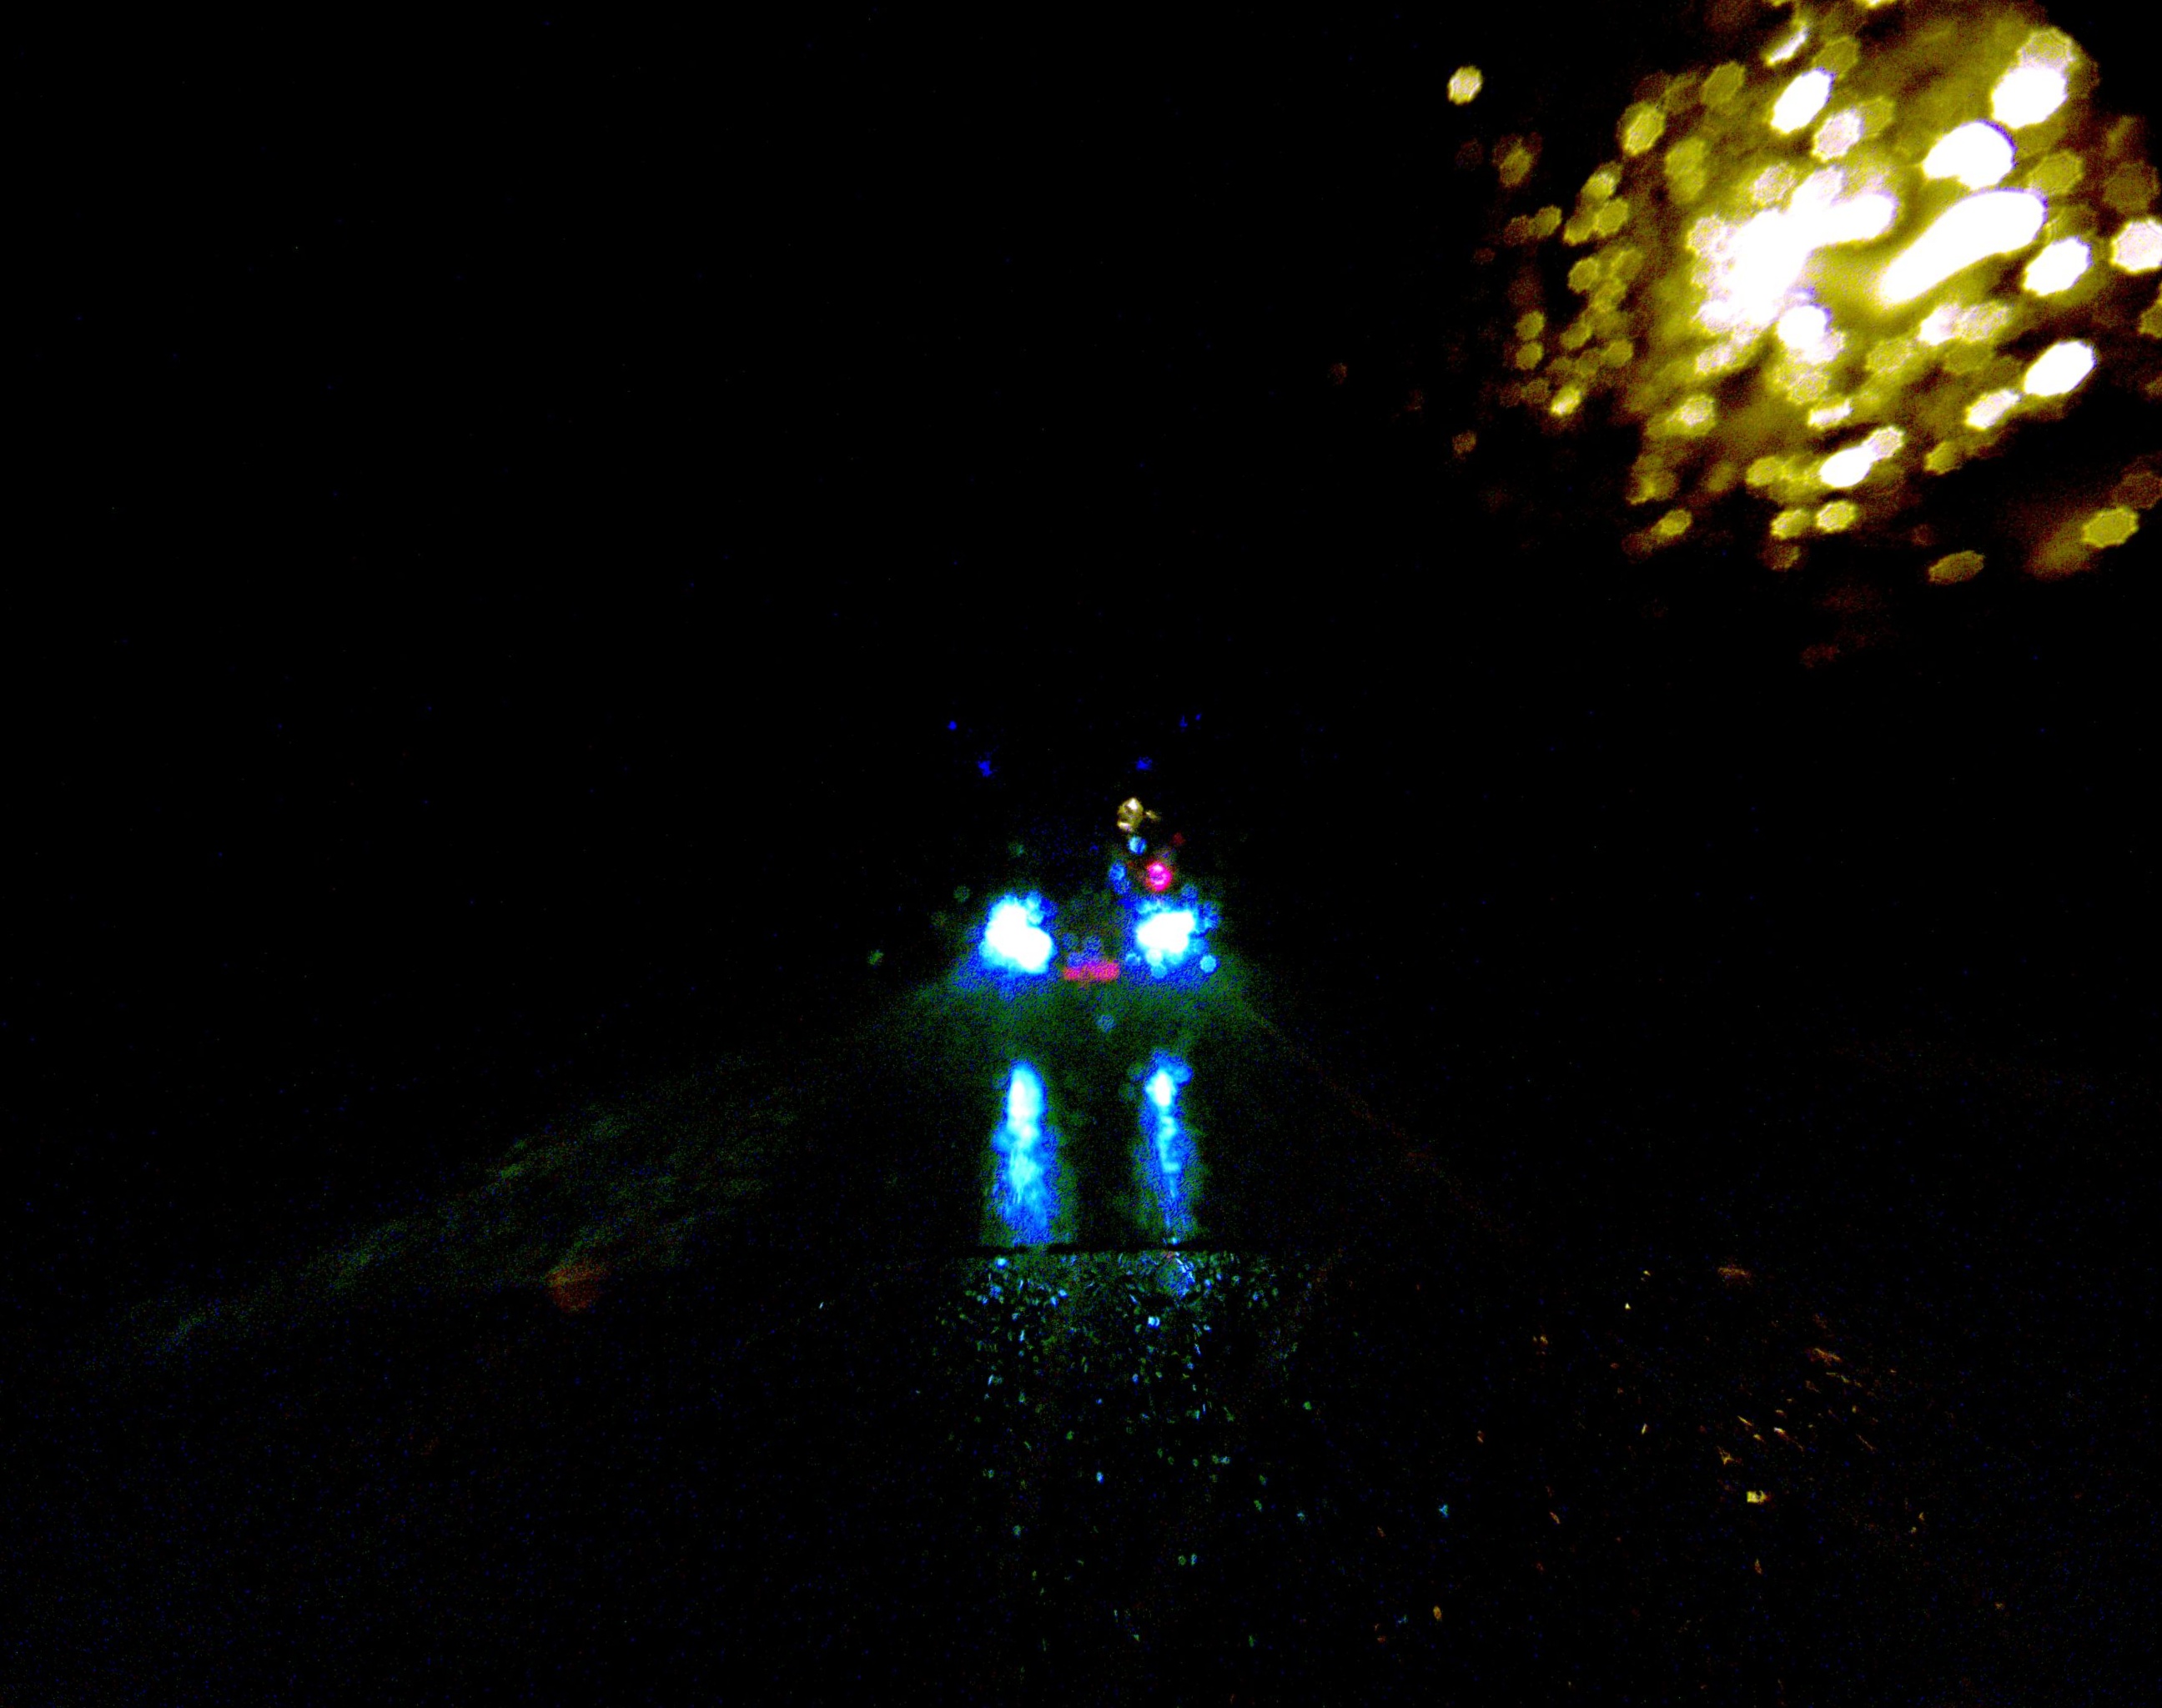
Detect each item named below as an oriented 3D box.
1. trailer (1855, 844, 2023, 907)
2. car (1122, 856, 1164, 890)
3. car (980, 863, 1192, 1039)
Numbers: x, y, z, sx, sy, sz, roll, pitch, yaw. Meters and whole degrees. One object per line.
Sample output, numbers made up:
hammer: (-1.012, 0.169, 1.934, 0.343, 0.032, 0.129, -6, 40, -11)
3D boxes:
trailer: (33.707, 0.791, 30.008, 3.801, 2.206, 1.976, 2, 3, 19)
car: (3.037, 0.944, 37.911, 1.878, 1.535, 4.357, 1, -1, 2)
car: (0.114, 0.936, 9.484, 1.944, 1.580, 4.776, -1, 0, 2)
